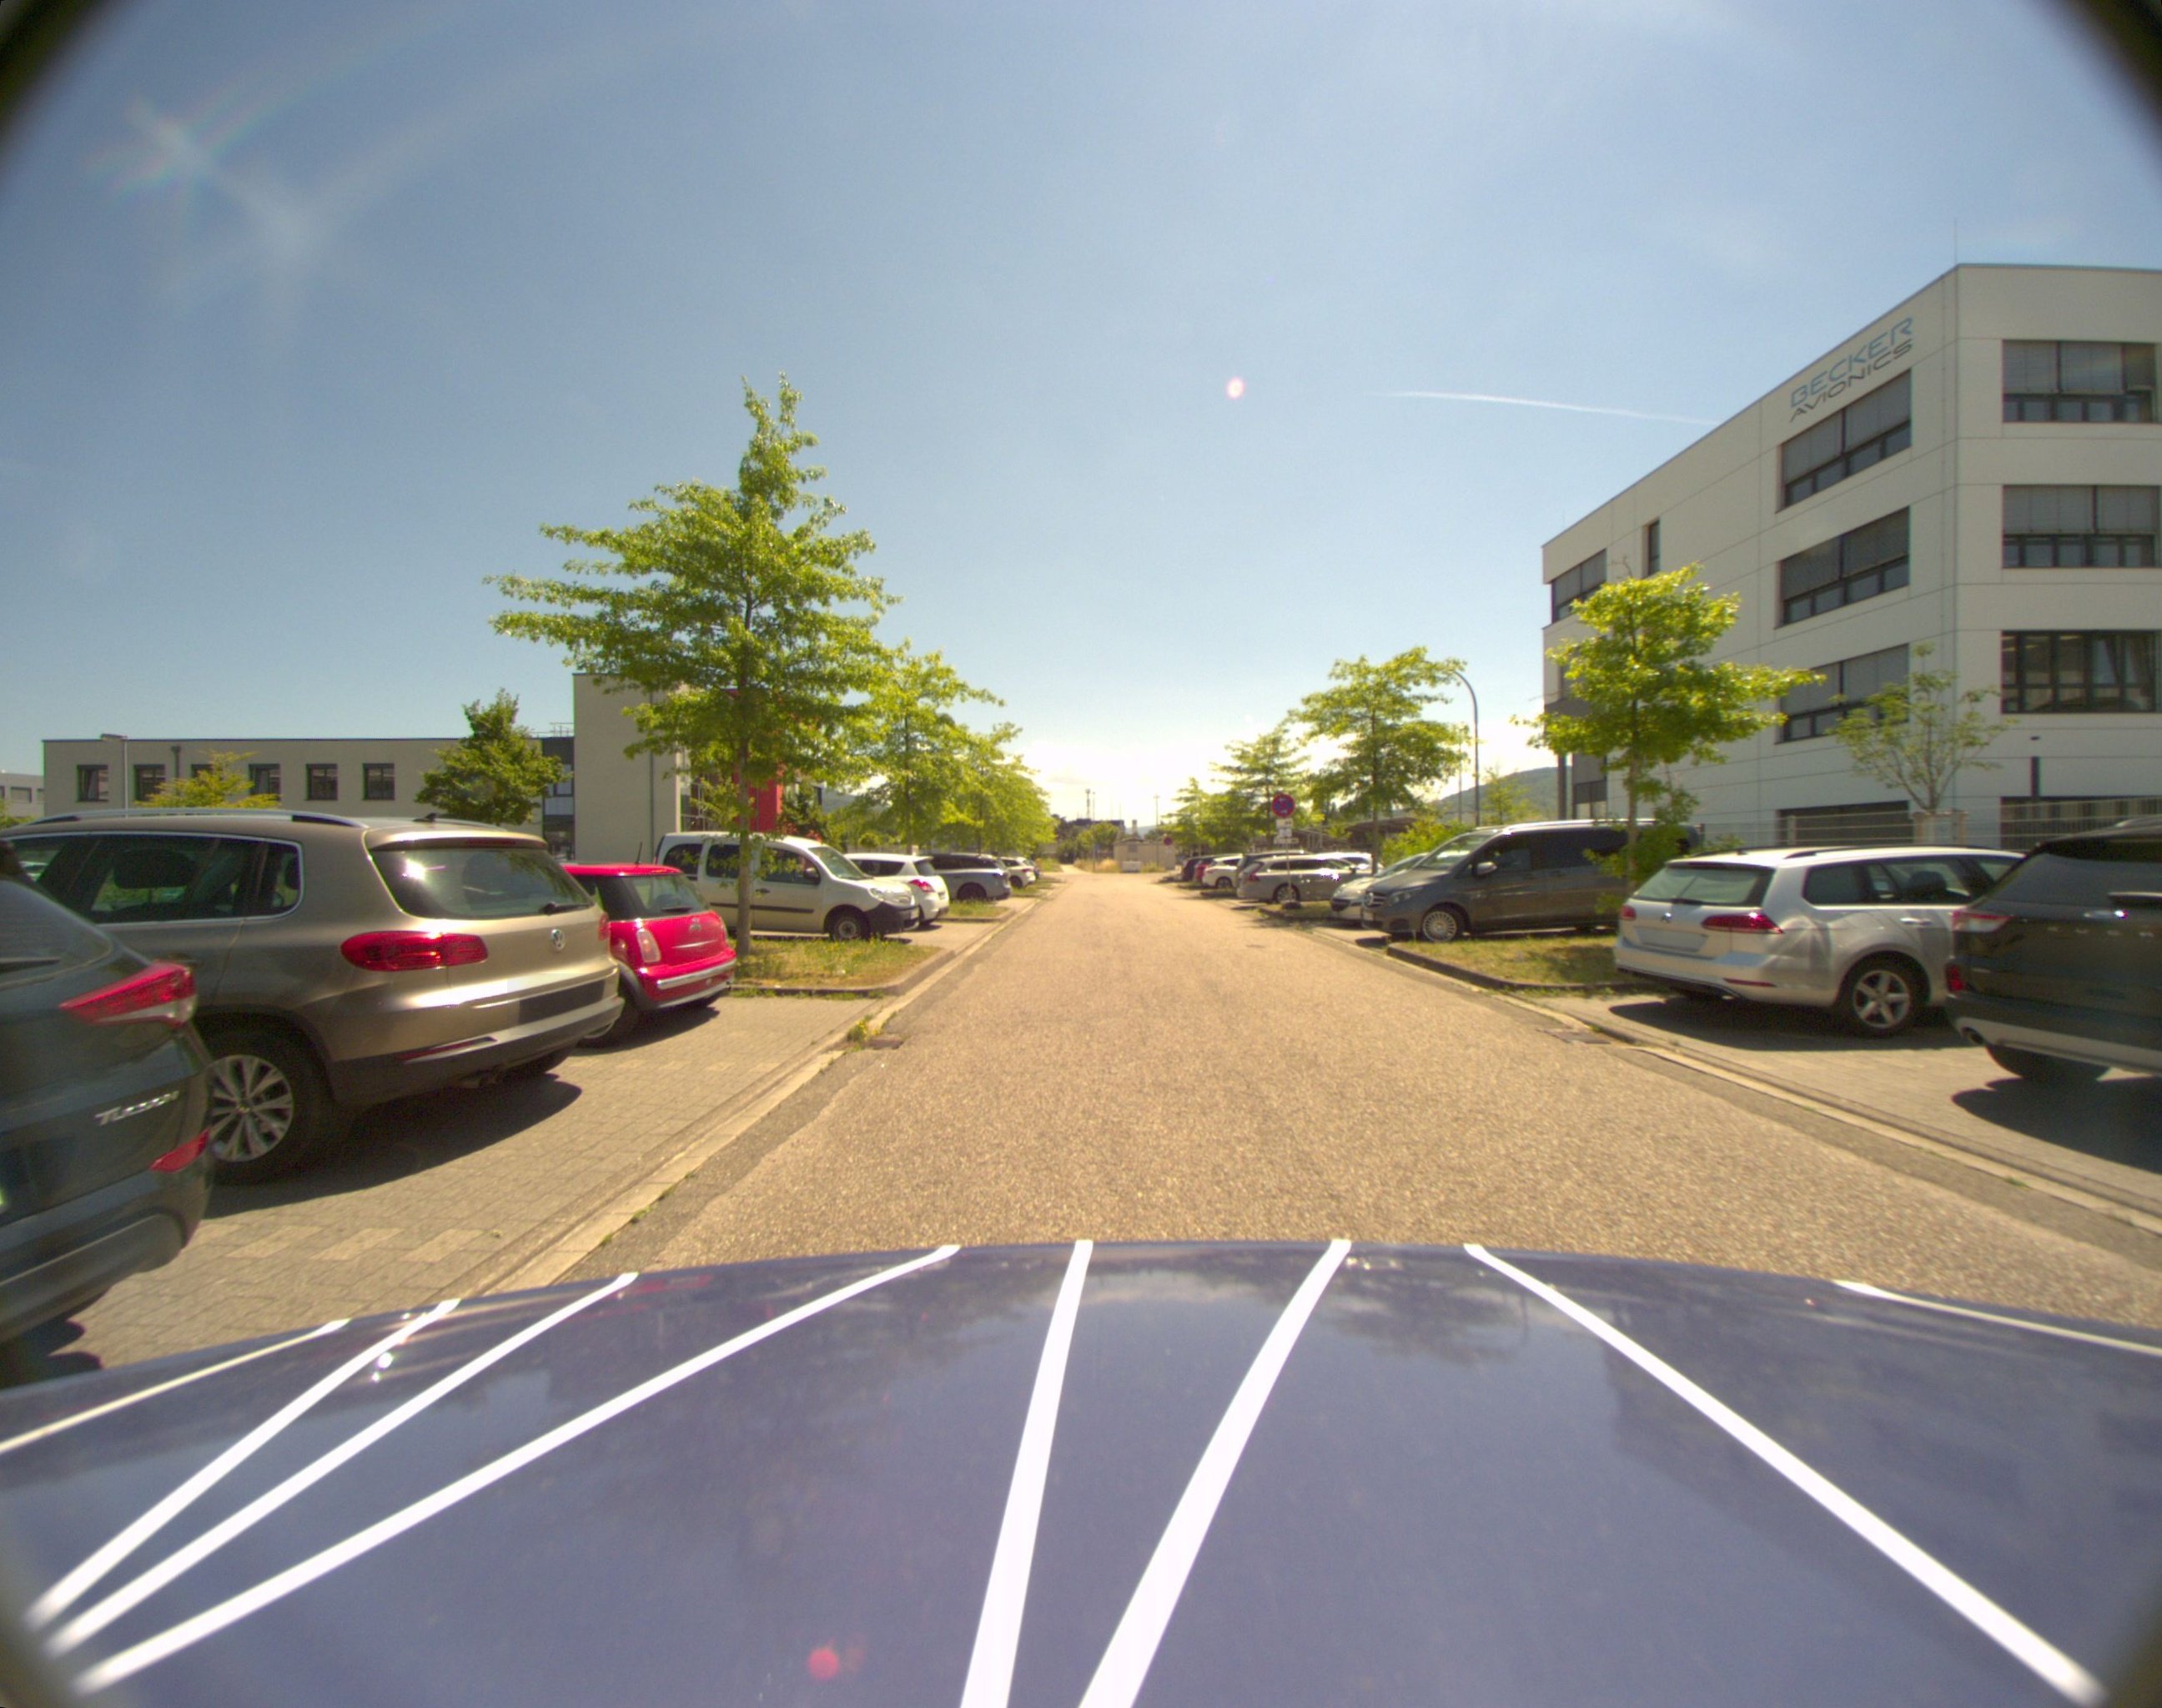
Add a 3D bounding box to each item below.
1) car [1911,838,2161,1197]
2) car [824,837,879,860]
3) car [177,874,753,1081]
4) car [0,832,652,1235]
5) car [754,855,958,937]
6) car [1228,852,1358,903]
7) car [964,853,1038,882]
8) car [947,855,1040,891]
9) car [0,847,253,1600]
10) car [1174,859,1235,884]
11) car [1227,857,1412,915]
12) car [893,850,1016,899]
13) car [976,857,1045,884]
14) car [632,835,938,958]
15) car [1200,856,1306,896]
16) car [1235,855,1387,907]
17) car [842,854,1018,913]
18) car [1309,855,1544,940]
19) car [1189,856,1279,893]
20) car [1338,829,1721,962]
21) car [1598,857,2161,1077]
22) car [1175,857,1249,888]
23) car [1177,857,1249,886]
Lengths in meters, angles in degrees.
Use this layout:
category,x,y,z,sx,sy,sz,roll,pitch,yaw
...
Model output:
category,x,y,z,sx,sy,sz,roll,pitch,yaw
car,7.117,0.719,3.869,3.998,1.669,1.776,-3,0,-4
car,-19.270,-0.488,63.868,3.997,1.764,1.811,-1,-2,0
car,-4.923,0.930,6.474,3.466,1.408,1.755,1,0,1
car,-4.792,0.739,4.129,3.885,1.668,1.782,1,0,1
car,-4.507,0.810,15.562,3.640,1.494,1.676,1,0,2
car,7.443,0.819,27.016,4.127,1.625,1.728,-2,0,3
car,-4.724,0.789,45.261,4.119,1.640,1.774,0,-1,3
car,-3.868,0.832,34.009,3.842,1.544,1.780,0,-1,6
car,-4.507,0.792,1.310,4.184,1.686,1.782,1,0,0
car,7.738,1.091,47.770,3.513,1.432,1.727,-2,0,0
car,6.809,0.902,22.056,4.725,1.439,1.857,-2,0,0
car,-4.480,0.716,27.267,4.056,1.615,1.693,1,0,1
car,-4.354,1.038,47.426,4.004,1.481,1.728,2,-1,5
car,-4.832,0.664,12.815,4.413,1.819,1.796,1,0,2
car,7.445,0.959,33.220,4.182,1.504,1.808,-2,-1,2
car,7.359,0.865,24.593,4.322,1.464,1.727,-2,0,-1
car,-4.234,0.824,21.982,4.729,1.552,1.913,1,0,-3
car,6.953,0.847,15.621,3.978,1.475,1.764,-3,0,1
car,7.225,0.954,36.059,3.849,1.582,1.727,-2,0,-1
car,7.148,0.648,12.580,5.081,1.880,1.997,-2,0,2
car,6.988,0.840,6.499,4.048,1.452,1.604,-3,0,-2
car,7.289,1.022,42.558,3.915,1.582,1.728,-2,0,5
car,7.800,1.035,45.198,3.848,1.584,1.829,-2,0,-2
